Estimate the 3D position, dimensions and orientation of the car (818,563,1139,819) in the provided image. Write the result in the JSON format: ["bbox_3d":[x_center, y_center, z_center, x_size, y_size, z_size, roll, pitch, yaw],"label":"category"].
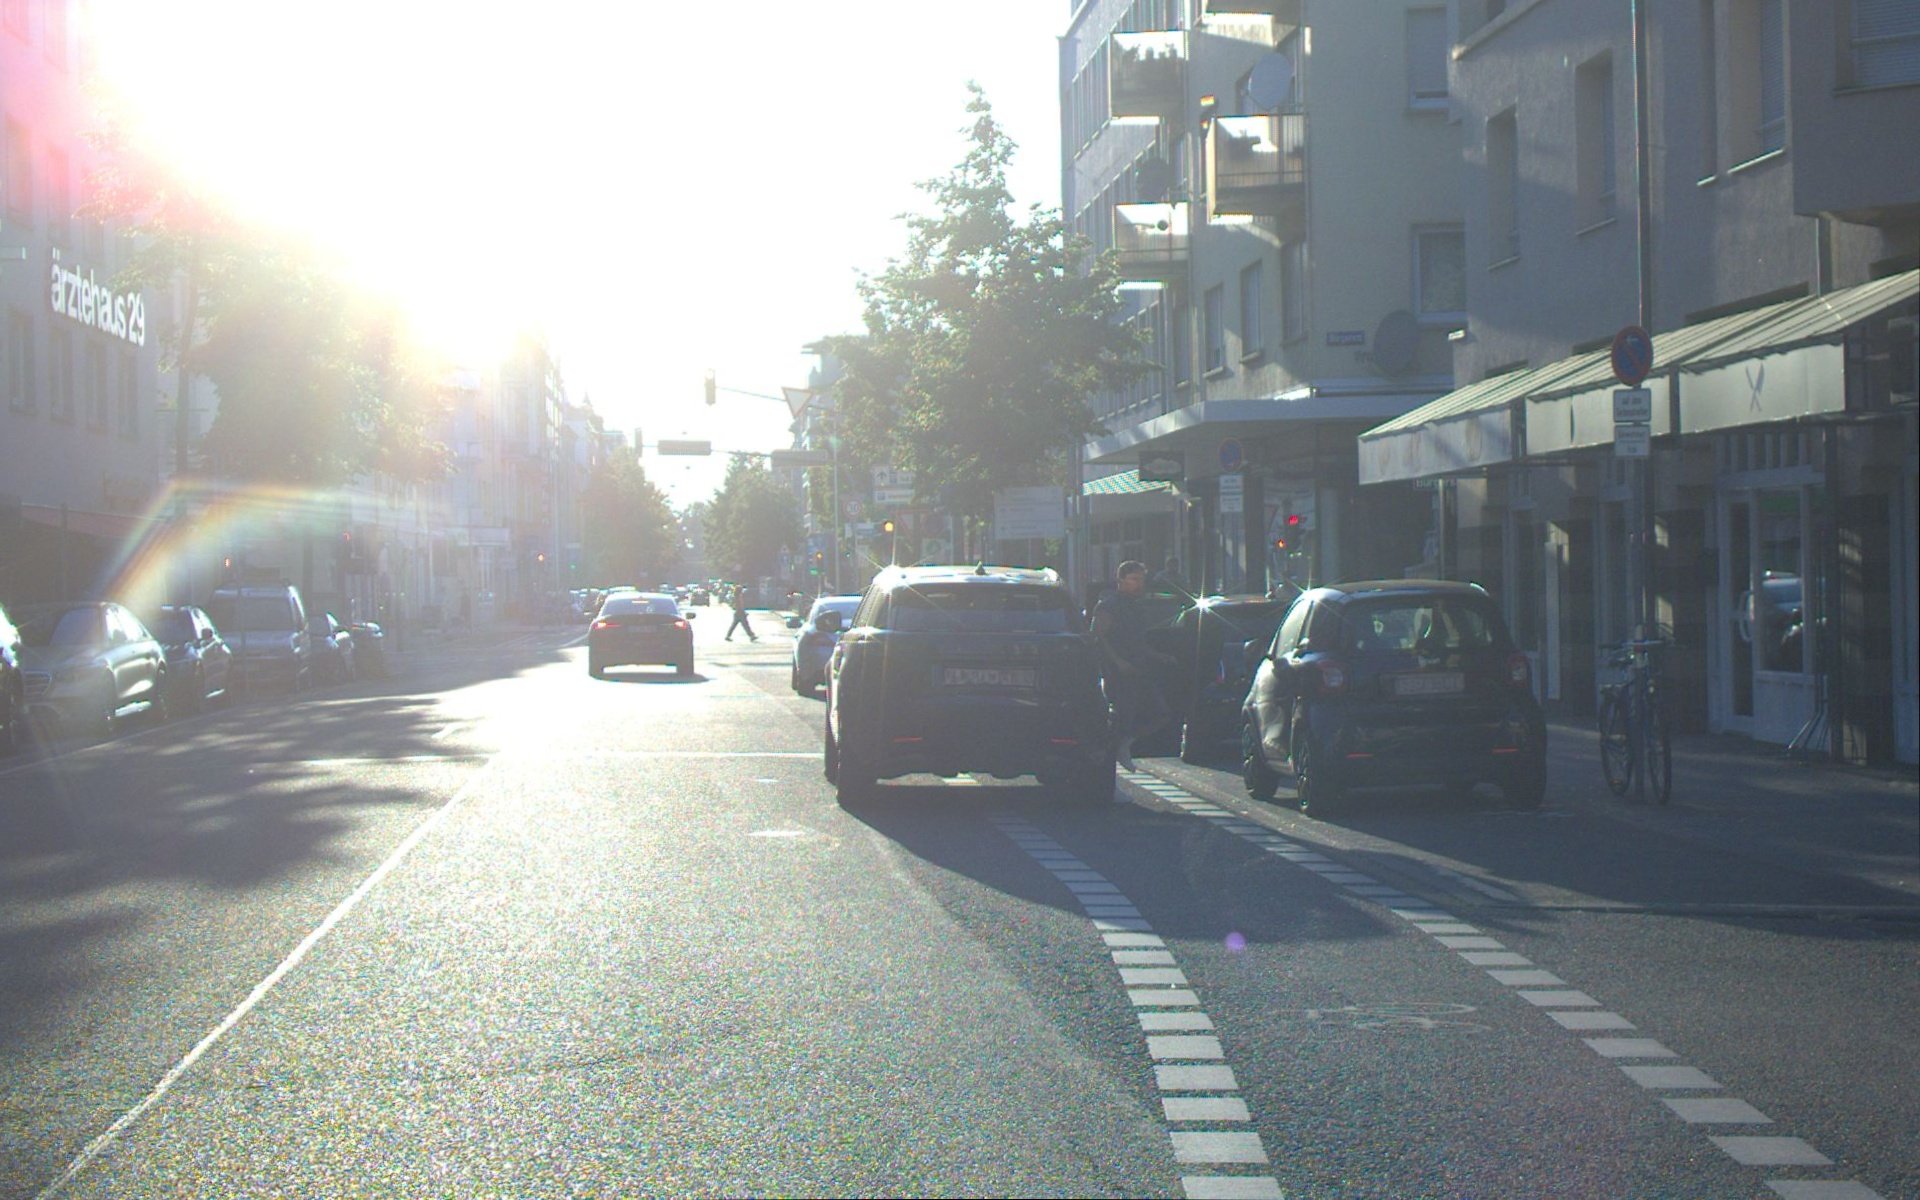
[{"bbox_3d":[0.029,0.588,24.978,1.995,1.649,4.674,1,0,-4],"label":"car"}]

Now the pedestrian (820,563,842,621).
[{"bbox_3d":[-3.861,-0.251,102.732,0.494,1.709,0.462,-1,1,-23],"label":"pedestrian"}]

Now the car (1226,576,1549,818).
[{"bbox_3d":[2.937,0.631,24.084,1.632,1.548,2.695,-1,1,-6],"label":"car"}]

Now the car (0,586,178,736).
[{"bbox_3d":[-10.466,0.669,39.823,1.827,1.551,5.136,-3,1,-3],"label":"car"}]

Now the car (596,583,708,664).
[{"bbox_3d":[-5.516,0.401,61.900,1.883,1.410,4.325,0,0,-4],"label":"car"}]

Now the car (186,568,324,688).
[{"bbox_3d":[-11.281,0.427,55.208,1.832,1.848,4.125,0,0,-7],"label":"car"}]

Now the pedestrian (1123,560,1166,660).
[{"bbox_3d":[3.232,0.176,60.258,0.688,1.716,0.716,-2,0,2],"label":"pedestrian"}]

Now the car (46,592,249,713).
[{"bbox_3d":[-10.764,0.656,45.834,1.827,1.434,4.554,-3,0,-4],"label":"car"}]

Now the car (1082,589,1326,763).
[{"bbox_3d":[2.130,0.639,30.922,1.633,1.419,3.758,-1,0,-4],"label":"car"}]

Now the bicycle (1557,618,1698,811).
[{"bbox_3d":[4.536,0.757,23.464,0.397,1.230,1.826,-1,1,-6],"label":"bicycle"}]

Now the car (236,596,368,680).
[{"bbox_3d":[-11.677,0.650,61.224,1.832,1.323,4.125,-2,1,-5],"label":"car"}]

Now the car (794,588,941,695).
[{"bbox_3d":[-1.380,0.563,49.545,1.922,1.410,4.548,2,0,-4],"label":"car"}]

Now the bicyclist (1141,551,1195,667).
[{"bbox_3d":[3.089,0.135,51.160,0.650,1.696,1.095,-1,0,-3],"label":"bicyclist"}]

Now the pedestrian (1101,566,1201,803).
[{"bbox_3d":[1.366,0.597,24.597,0.441,1.659,0.565,-2,0,-29],"label":"pedestrian"}]

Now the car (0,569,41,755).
[{"bbox_3d":[-10.254,0.642,33.066,1.827,1.804,5.349,-2,1,-6],"label":"car"}]

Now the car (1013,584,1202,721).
[{"bbox_3d":[1.600,0.550,38.528,1.703,1.431,3.932,-1,0,-3],"label":"car"}]

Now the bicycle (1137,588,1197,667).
[{"bbox_3d":[3.077,0.401,51.221,0.650,1.151,1.932,-1,0,-4],"label":"bicycle"}]

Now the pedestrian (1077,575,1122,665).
[{"bbox_3d":[2.456,0.344,60.409,0.688,1.553,0.863,-1,0,-3],"label":"pedestrian"}]
